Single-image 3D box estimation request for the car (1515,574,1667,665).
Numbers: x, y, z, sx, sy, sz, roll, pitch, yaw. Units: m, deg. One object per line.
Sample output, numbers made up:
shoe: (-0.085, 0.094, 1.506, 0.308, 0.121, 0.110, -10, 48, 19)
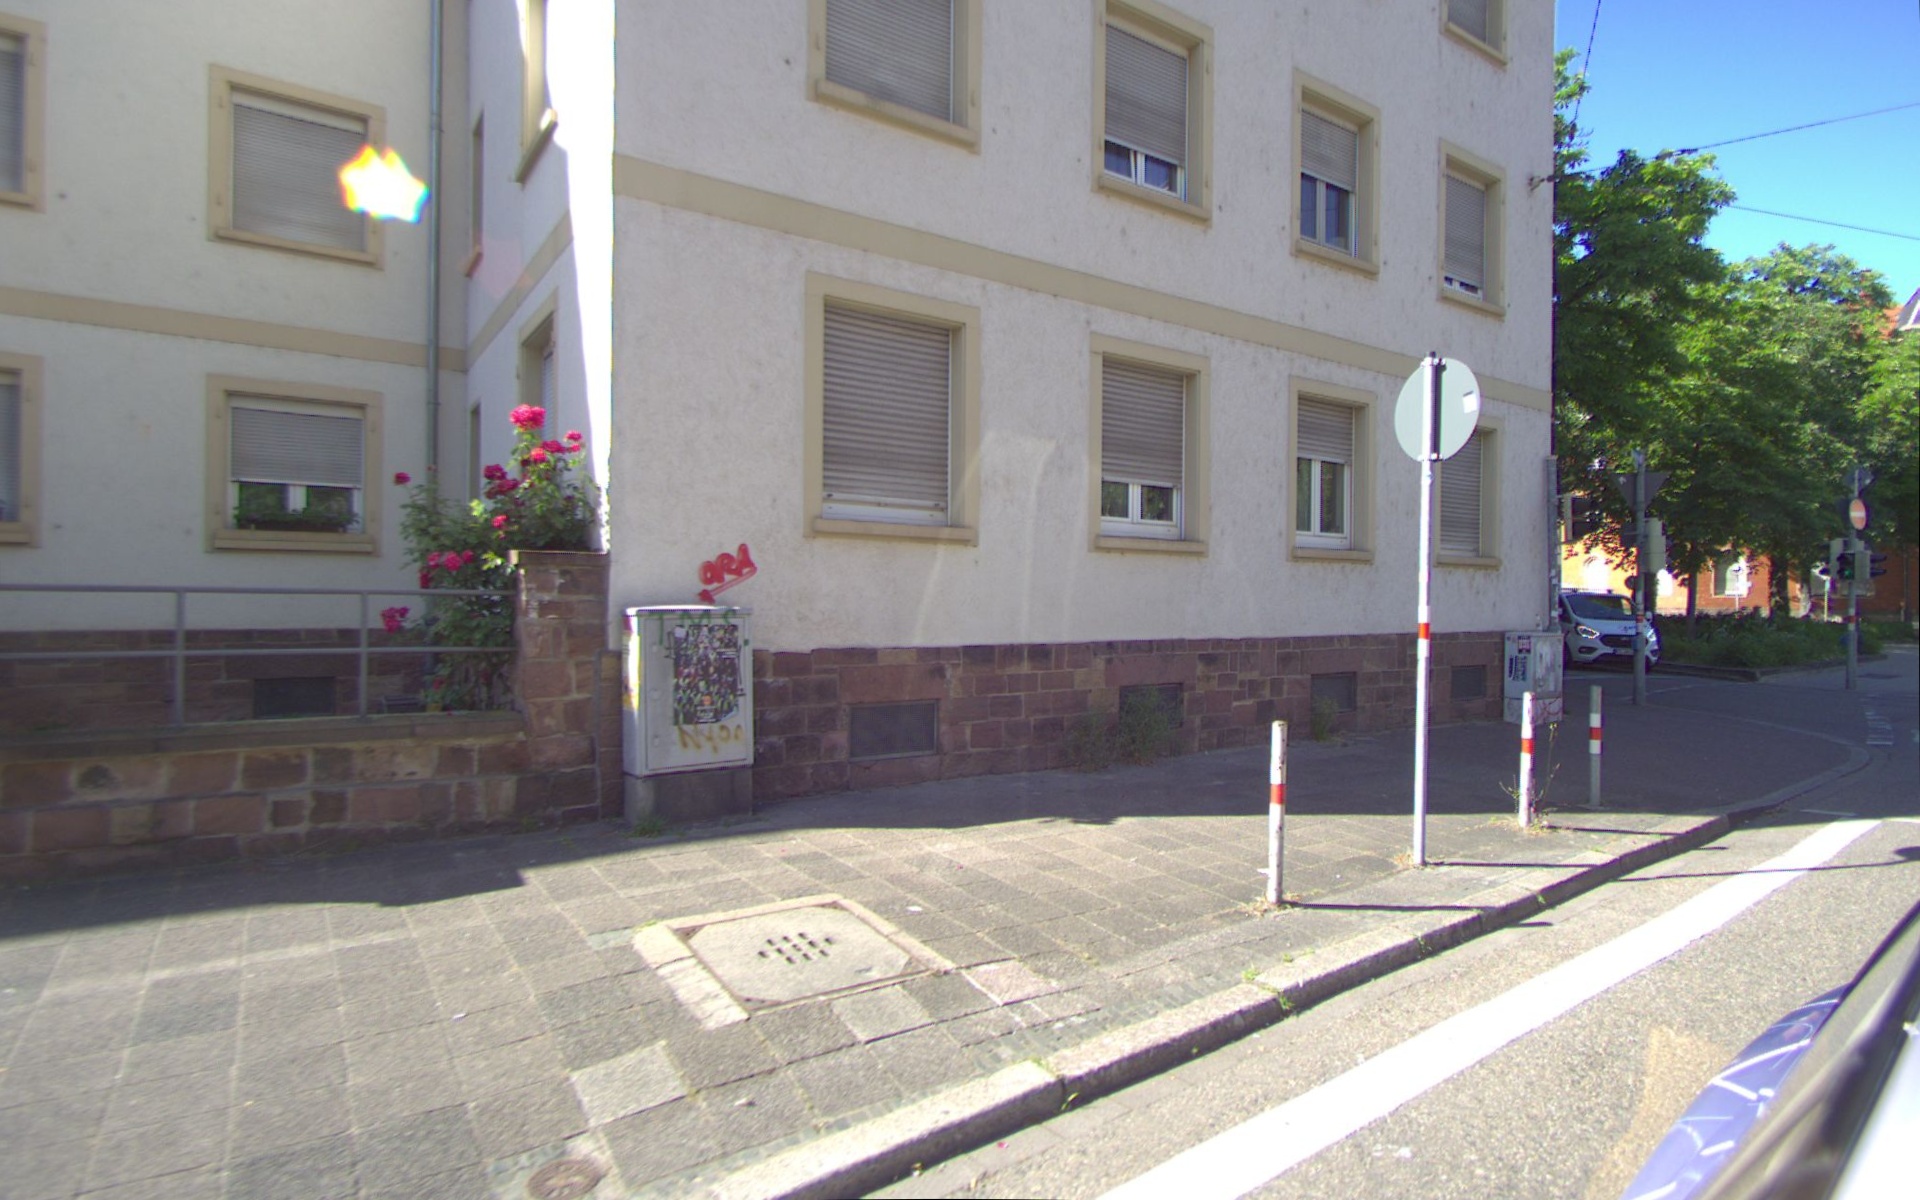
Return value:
car: (16.213, 0.521, 26.305, 1.660, 2.119, 4.741, -1, -2, 11)
